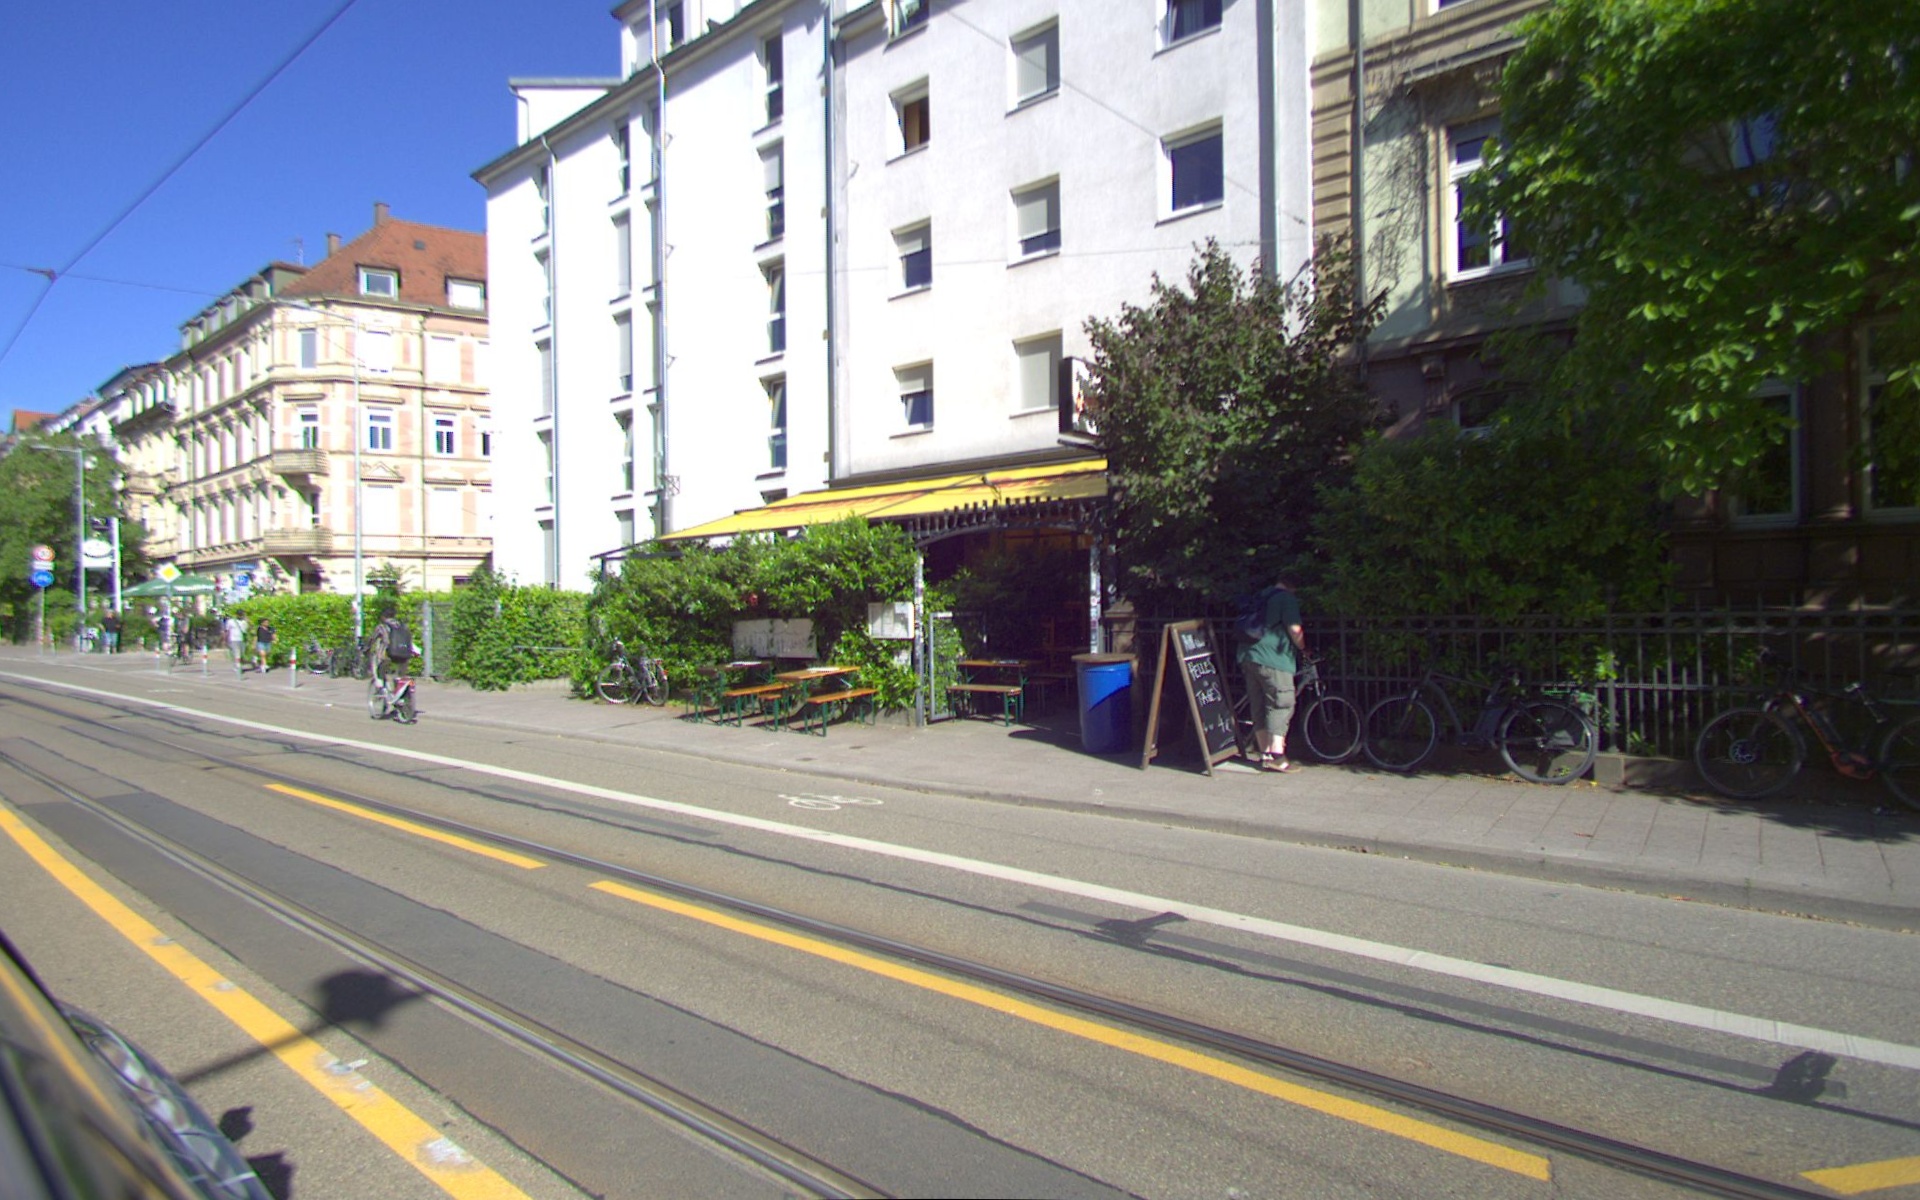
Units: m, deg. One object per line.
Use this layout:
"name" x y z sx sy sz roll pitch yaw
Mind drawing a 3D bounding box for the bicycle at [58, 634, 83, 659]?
"bicycle" -38.989 2.023 44.347 2.221 1.046 0.508 -1 -1 40

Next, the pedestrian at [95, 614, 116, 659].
"pedestrian" -34.760 1.467 41.179 0.538 1.795 0.552 -1 -1 36

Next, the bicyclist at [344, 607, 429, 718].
"bicyclist" -8.753 0.941 15.447 1.117 1.612 0.737 -1 -4 41

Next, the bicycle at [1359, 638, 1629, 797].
"bicycle" 4.480 0.926 8.617 0.638 1.152 1.907 -3 1 -42

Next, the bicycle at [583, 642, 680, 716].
"bicycle" -5.300 1.241 16.262 1.742 1.067 0.632 -2 1 41

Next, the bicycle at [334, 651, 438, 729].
"bicycle" -8.754 1.345 15.413 1.898 1.090 0.737 -1 -4 41

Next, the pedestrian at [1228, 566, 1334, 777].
"pedestrian" 2.943 0.628 9.300 0.567 1.845 0.691 0 -1 -32

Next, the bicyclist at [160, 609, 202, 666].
"bicyclist" -25.892 1.226 33.646 0.696 1.868 0.987 0 0 -7

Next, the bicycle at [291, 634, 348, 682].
"bicycle" -16.091 1.436 25.408 1.839 1.097 0.655 0 2 40

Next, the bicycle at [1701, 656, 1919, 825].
"bicycle" 6.389 0.955 7.036 0.582 1.053 1.907 -1 0 -42

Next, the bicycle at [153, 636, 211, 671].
"bicycle" -25.910 1.772 33.739 0.695 1.063 1.838 0 0 -8

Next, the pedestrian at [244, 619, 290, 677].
"pedestrian" -18.579 1.285 27.124 0.956 1.489 0.747 -2 0 40

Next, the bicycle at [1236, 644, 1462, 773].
"bicycle" 3.676 0.983 9.756 0.628 1.053 2.027 0 -1 -34

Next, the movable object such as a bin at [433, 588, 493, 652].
"movable object such as a bin" -11.719 0.470 23.842 1.256 1.468 0.799 -2 -2 38

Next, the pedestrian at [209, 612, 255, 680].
"pedestrian" -19.144 1.197 26.613 0.807 1.727 0.747 -2 0 40

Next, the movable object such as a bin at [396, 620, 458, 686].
"movable object such as a bin" -12.207 1.204 23.175 1.256 1.468 0.799 -2 -2 38

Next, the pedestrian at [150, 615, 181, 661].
"pedestrian" -31.112 1.483 39.641 0.682 1.781 0.869 0 -1 -20

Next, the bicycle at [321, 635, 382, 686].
"bicycle" -14.518 1.421 24.115 1.839 1.097 0.655 0 2 40

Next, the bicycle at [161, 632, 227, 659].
"bicycle" -32.696 1.940 43.221 2.212 1.052 0.877 0 0 -41

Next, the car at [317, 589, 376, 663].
"car" -25.399 1.000 41.803 1.861 2.862 4.796 1 0 -34

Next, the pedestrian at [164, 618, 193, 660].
"pedestrian" -31.689 1.573 41.050 0.694 1.667 0.835 0 0 -19

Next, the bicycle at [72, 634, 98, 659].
"bicycle" -36.171 1.917 41.830 1.776 0.988 0.522 -2 -1 40
